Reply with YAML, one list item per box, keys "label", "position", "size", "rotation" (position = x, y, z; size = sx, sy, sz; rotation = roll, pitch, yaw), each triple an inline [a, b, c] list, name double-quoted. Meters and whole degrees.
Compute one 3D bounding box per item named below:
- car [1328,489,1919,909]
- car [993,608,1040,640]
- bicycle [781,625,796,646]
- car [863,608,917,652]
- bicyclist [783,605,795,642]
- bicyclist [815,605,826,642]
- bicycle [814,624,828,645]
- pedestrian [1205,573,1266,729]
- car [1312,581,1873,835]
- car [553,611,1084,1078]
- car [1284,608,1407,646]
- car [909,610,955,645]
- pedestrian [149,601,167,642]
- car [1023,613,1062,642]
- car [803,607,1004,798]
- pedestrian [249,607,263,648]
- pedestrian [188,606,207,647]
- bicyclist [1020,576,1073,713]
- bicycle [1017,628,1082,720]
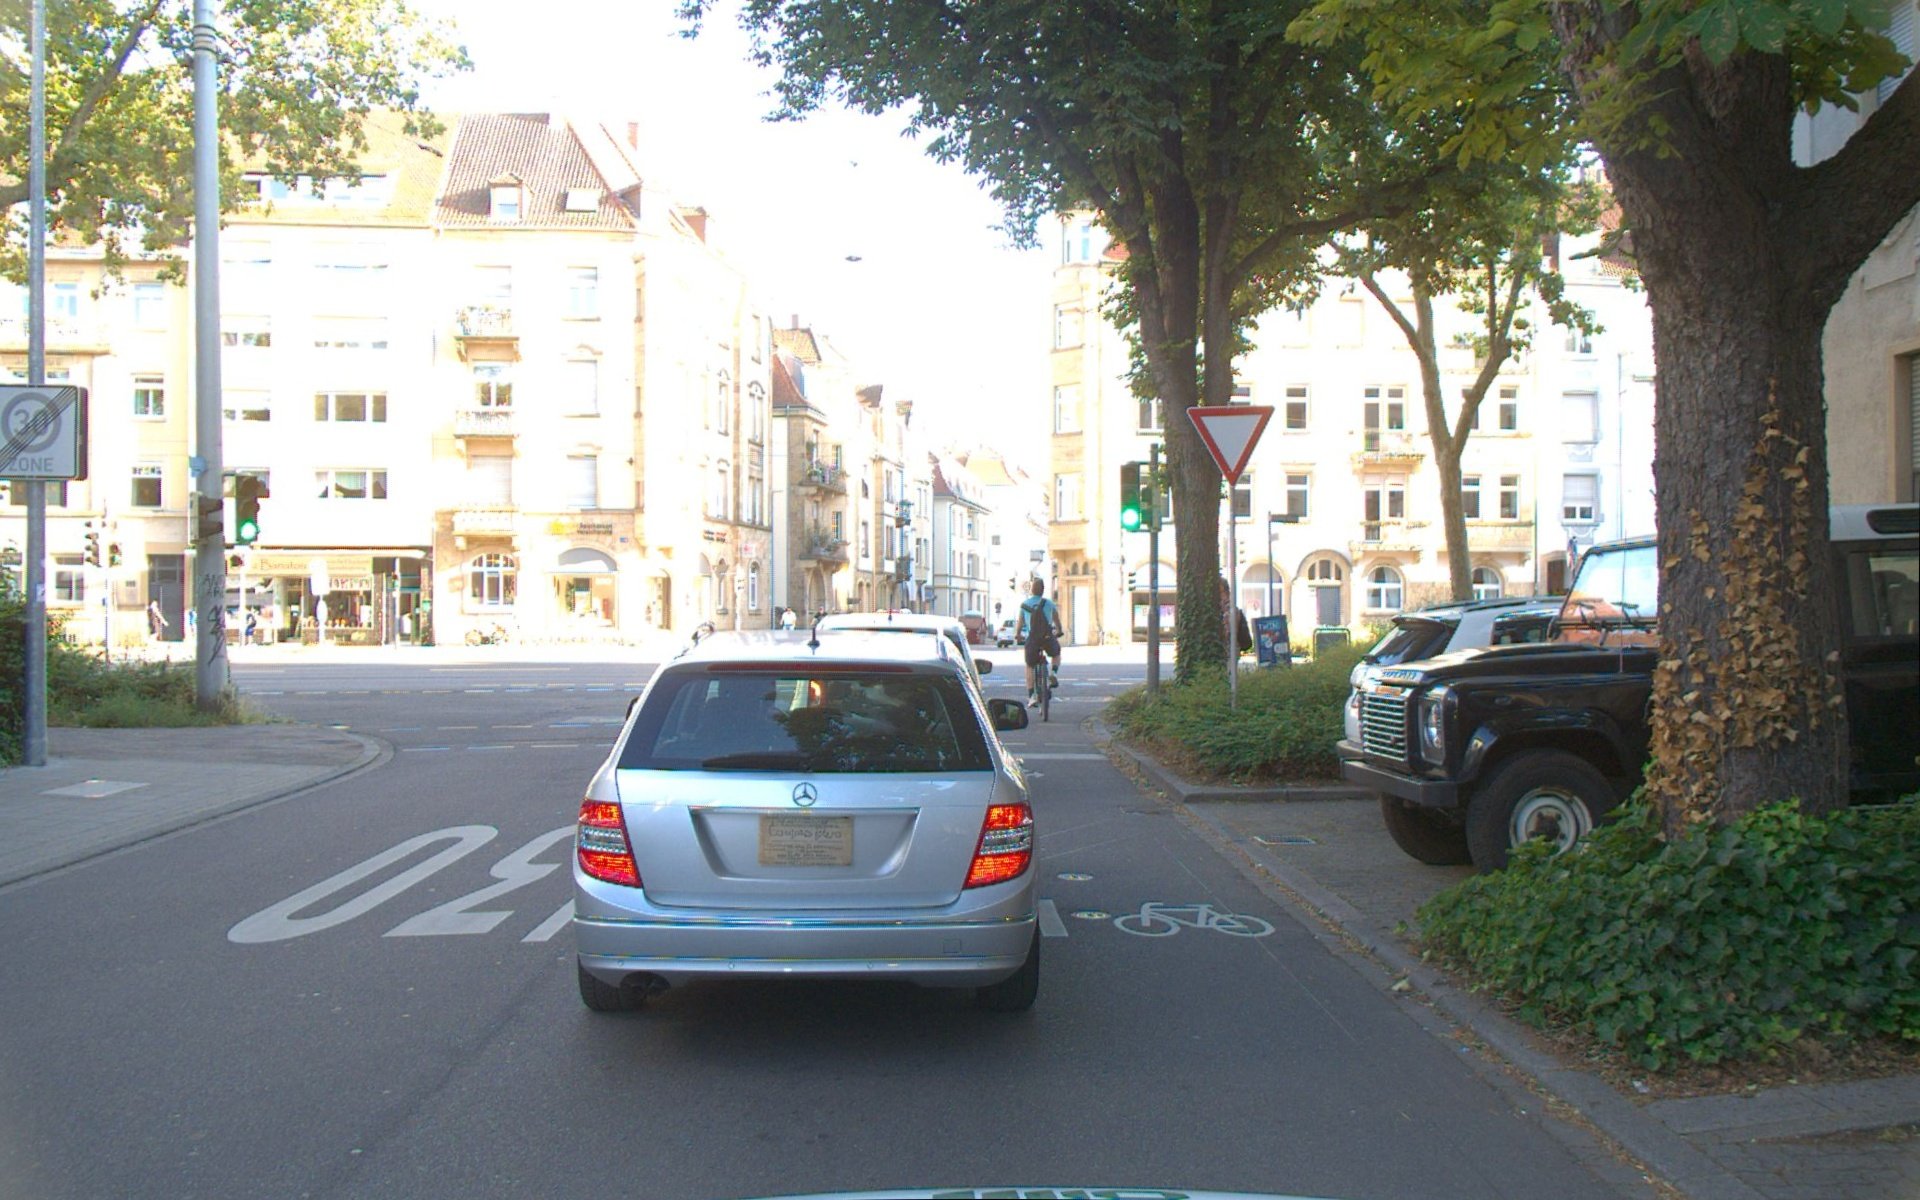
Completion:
- label: "car"
  position: [4.488, 0.450, 9.191]
  size: [4.402, 1.990, 1.792]
  rotation: [-2, 0, -3]
- label: "car"
  position: [2.922, 1.225, 84.888]
  size: [1.684, 1.504, 4.004]
  rotation: [-2, 0, 12]
- label: "bicycle"
  position: [-7.202, 1.469, 69.574]
  size: [0.557, 0.849, 1.564]
  rotation: [0, 0, -4]
- label: "car"
  position: [-3.276, 1.378, 78.202]
  size: [1.896, 1.993, 4.153]
  rotation: [0, 0, 8]
- label: "bicyclist"
  position: [-7.200, 0.968, 69.591]
  size: [0.457, 1.541, 0.655]
  rotation: [0, 0, -4]
- label: "bicyclist"
  position: [-5.904, 0.977, 70.068]
  size: [0.457, 1.547, 0.693]
  rotation: [0, 0, -4]
- label: "bicycle"
  position: [-5.900, 1.464, 70.037]
  size: [0.557, 0.849, 1.564]
  rotation: [0, 0, -4]
- label: "pedestrian"
  position: [3.361, 0.619, 20.237]
  size: [0.619, 1.877, 0.574]
  rotation: [0, 0, -4]
- label: "car"
  position: [4.508, 0.720, 12.076]
  size: [3.414, 1.614, 1.708]
  rotation: [-1, 0, -7]
- label: "car"
  position: [-0.530, 0.797, 7.008]
  size: [1.656, 1.454, 3.490]
  rotation: [1, 0, -3]
- label: "car"
  position: [11.319, 0.797, 48.659]
  size: [3.296, 1.087, 1.380]
  rotation: [0, 0, -2]
- label: "car"
  position: [-1.456, 1.420, 86.758]
  size: [1.650, 1.753, 4.003]
  rotation: [0, 0, 10]
- label: "pedestrian"
  position: [-29.991, 0.811, 61.831]
  size: [0.556, 1.537, 0.499]
  rotation: [0, 0, -20]
- label: "car"
  position: [5.088, 1.668, 101.069]
  size: [1.684, 1.503, 4.004]
  rotation: [-4, 0, 12]
- label: "car"
  position: [-0.486, 0.781, 14.288]
  size: [1.502, 1.415, 3.598]
  rotation: [0, 0, -2]
- label: "pedestrian"
  position: [-26.729, 1.050, 62.789]
  size: [0.466, 1.537, 0.428]
  rotation: [0, 0, -20]
- label: "pedestrian"
  position: [-28.929, 1.014, 62.752]
  size: [0.498, 1.537, 0.536]
  rotation: [0, 0, -7]
- label: "bicyclist"
  position: [1.157, 0.589, 22.218]
  size: [0.633, 1.806, 0.830]
  rotation: [1, -1, -1]
- label: "bicycle"
  position: [1.183, 0.968, 22.190]
  size: [0.727, 1.137, 2.013]
  rotation: [1, 0, -1]
